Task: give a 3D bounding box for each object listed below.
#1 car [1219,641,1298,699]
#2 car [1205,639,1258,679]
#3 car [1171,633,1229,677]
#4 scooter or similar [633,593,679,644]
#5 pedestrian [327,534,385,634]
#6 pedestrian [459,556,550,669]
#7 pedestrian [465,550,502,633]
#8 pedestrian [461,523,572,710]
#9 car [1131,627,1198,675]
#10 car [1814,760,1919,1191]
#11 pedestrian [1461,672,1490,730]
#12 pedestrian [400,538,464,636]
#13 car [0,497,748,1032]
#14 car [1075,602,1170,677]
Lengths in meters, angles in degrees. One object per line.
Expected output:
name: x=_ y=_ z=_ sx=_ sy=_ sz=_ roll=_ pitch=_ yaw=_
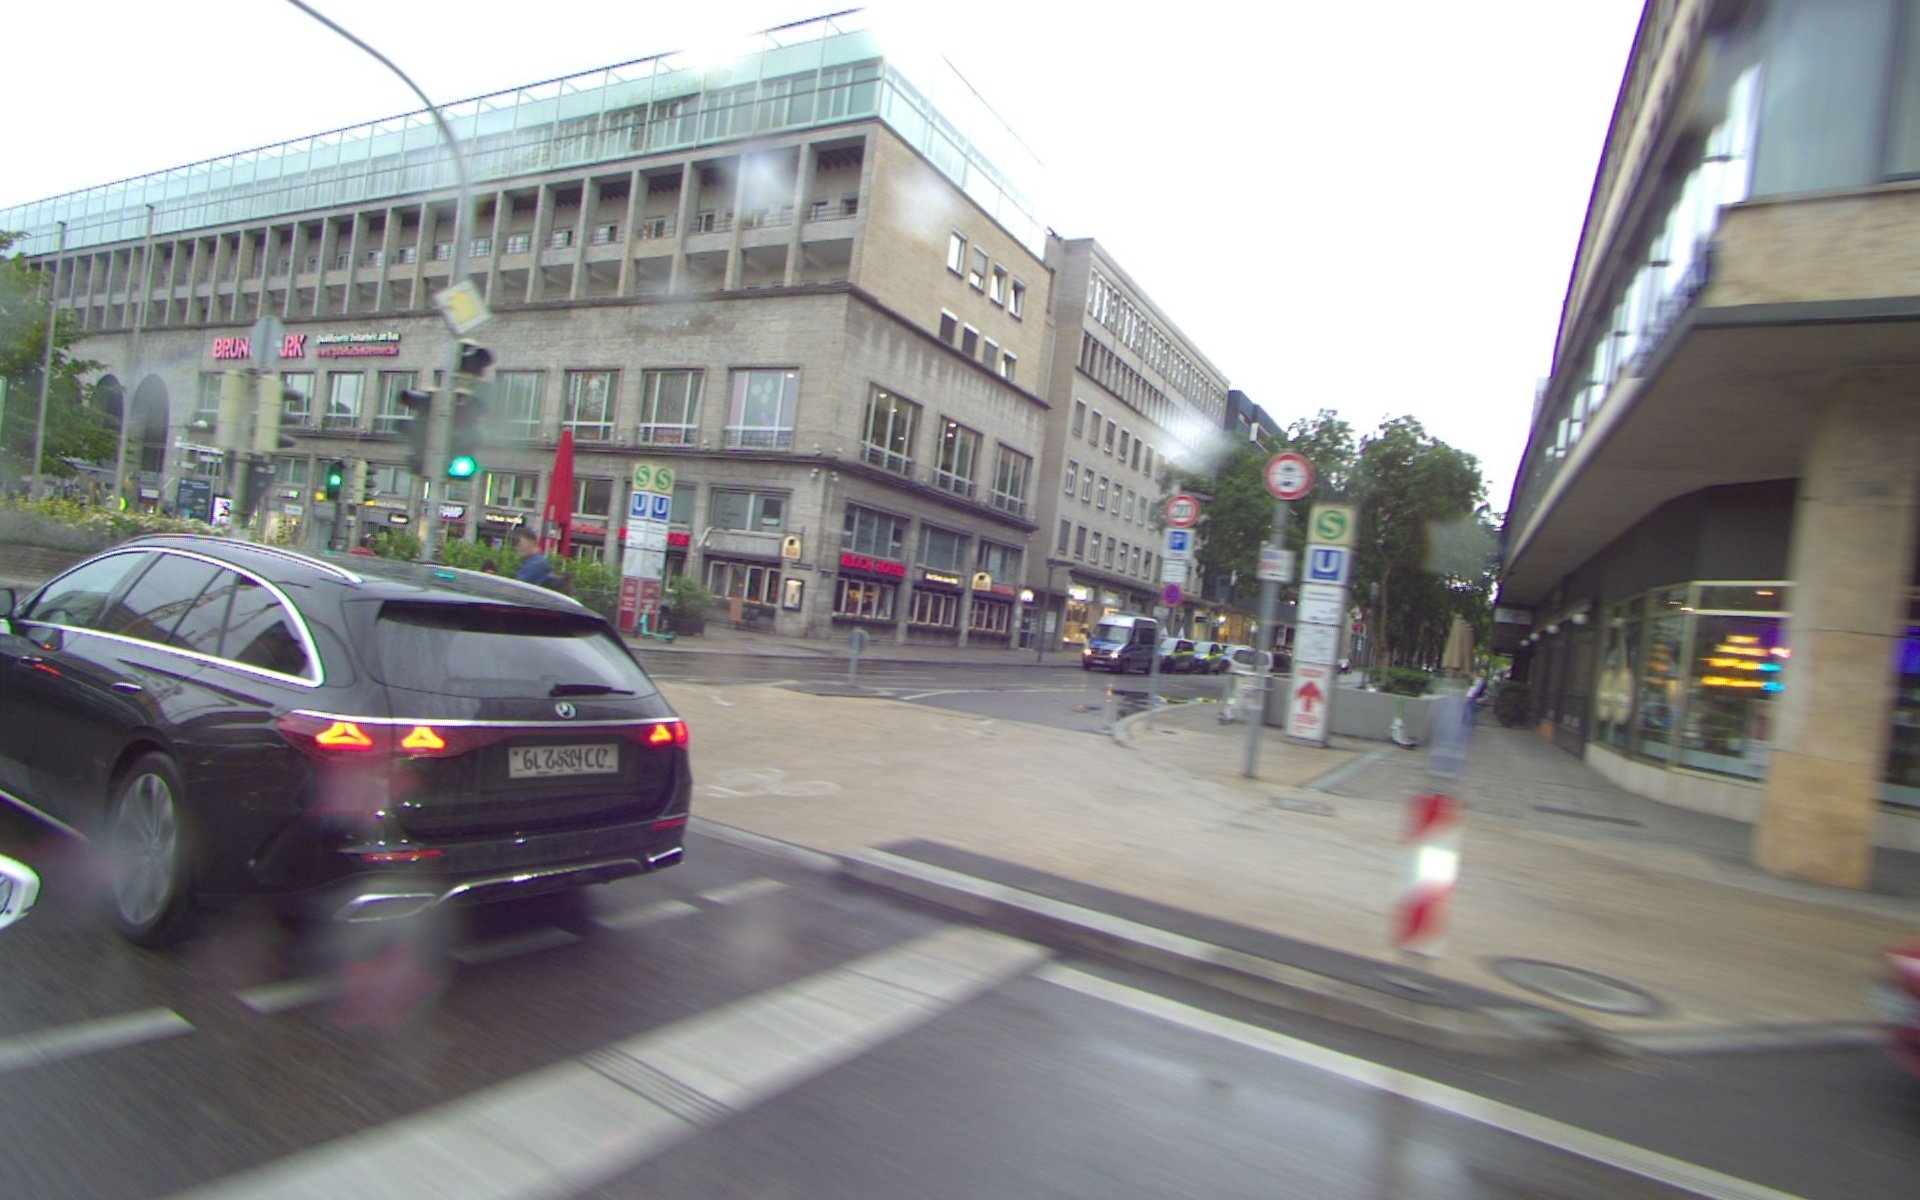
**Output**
car: x=12.321 y=2.915 z=41.311 sx=1.966 sy=1.994 sz=4.639 roll=7 pitch=-1 yaw=29
car: x=17.420 y=3.809 z=64.443 sx=1.966 sy=2.065 sz=4.833 roll=6 pitch=-3 yaw=30
car: x=13.982 y=3.223 z=58.501 sx=1.966 sy=2.065 sz=4.484 roll=6 pitch=-3 yaw=29
scooter or similar: x=-7.883 y=0.483 z=26.101 sx=1.000 sy=1.203 sz=0.291 roll=6 pitch=-1 yaw=13
pedestrian: x=-11.214 y=-0.283 z=18.686 sx=0.561 sy=1.772 sz=0.679 roll=7 pitch=-2 yaw=-15
pedestrian: x=-7.565 y=0.216 z=16.738 sx=0.642 sy=1.774 sz=1.097 roll=6 pitch=1 yaw=29
pedestrian: x=-9.176 y=-0.166 z=19.390 sx=0.460 sy=1.534 sz=0.448 roll=7 pitch=-2 yaw=-24
pedestrian: x=-4.512 y=0.177 z=10.282 sx=0.768 sy=1.776 sz=0.503 roll=7 pitch=-1 yaw=-15
car: x=10.750 y=2.711 z=52.668 sx=1.966 sy=2.065 sz=4.557 roll=6 pitch=-3 yaw=29
car: x=5.811 y=1.640 z=3.121 sx=4.452 sy=1.503 sz=1.879 roll=6 pitch=-3 yaw=32
pedestrian: x=15.895 y=3.107 z=31.002 sx=0.607 sy=1.719 sz=0.574 roll=6 pitch=-2 yaw=31
pedestrian: x=-9.970 y=-0.228 z=19.000 sx=0.458 sy=1.737 sz=0.757 roll=6 pitch=-2 yaw=28
car: x=-3.424 y=0.438 z=4.969 sx=4.552 sy=1.518 sz=1.797 roll=6 pitch=-3 yaw=32
car: x=7.529 y=1.888 z=45.924 sx=1.966 sy=2.792 sz=6.183 roll=6 pitch=-3 yaw=30
